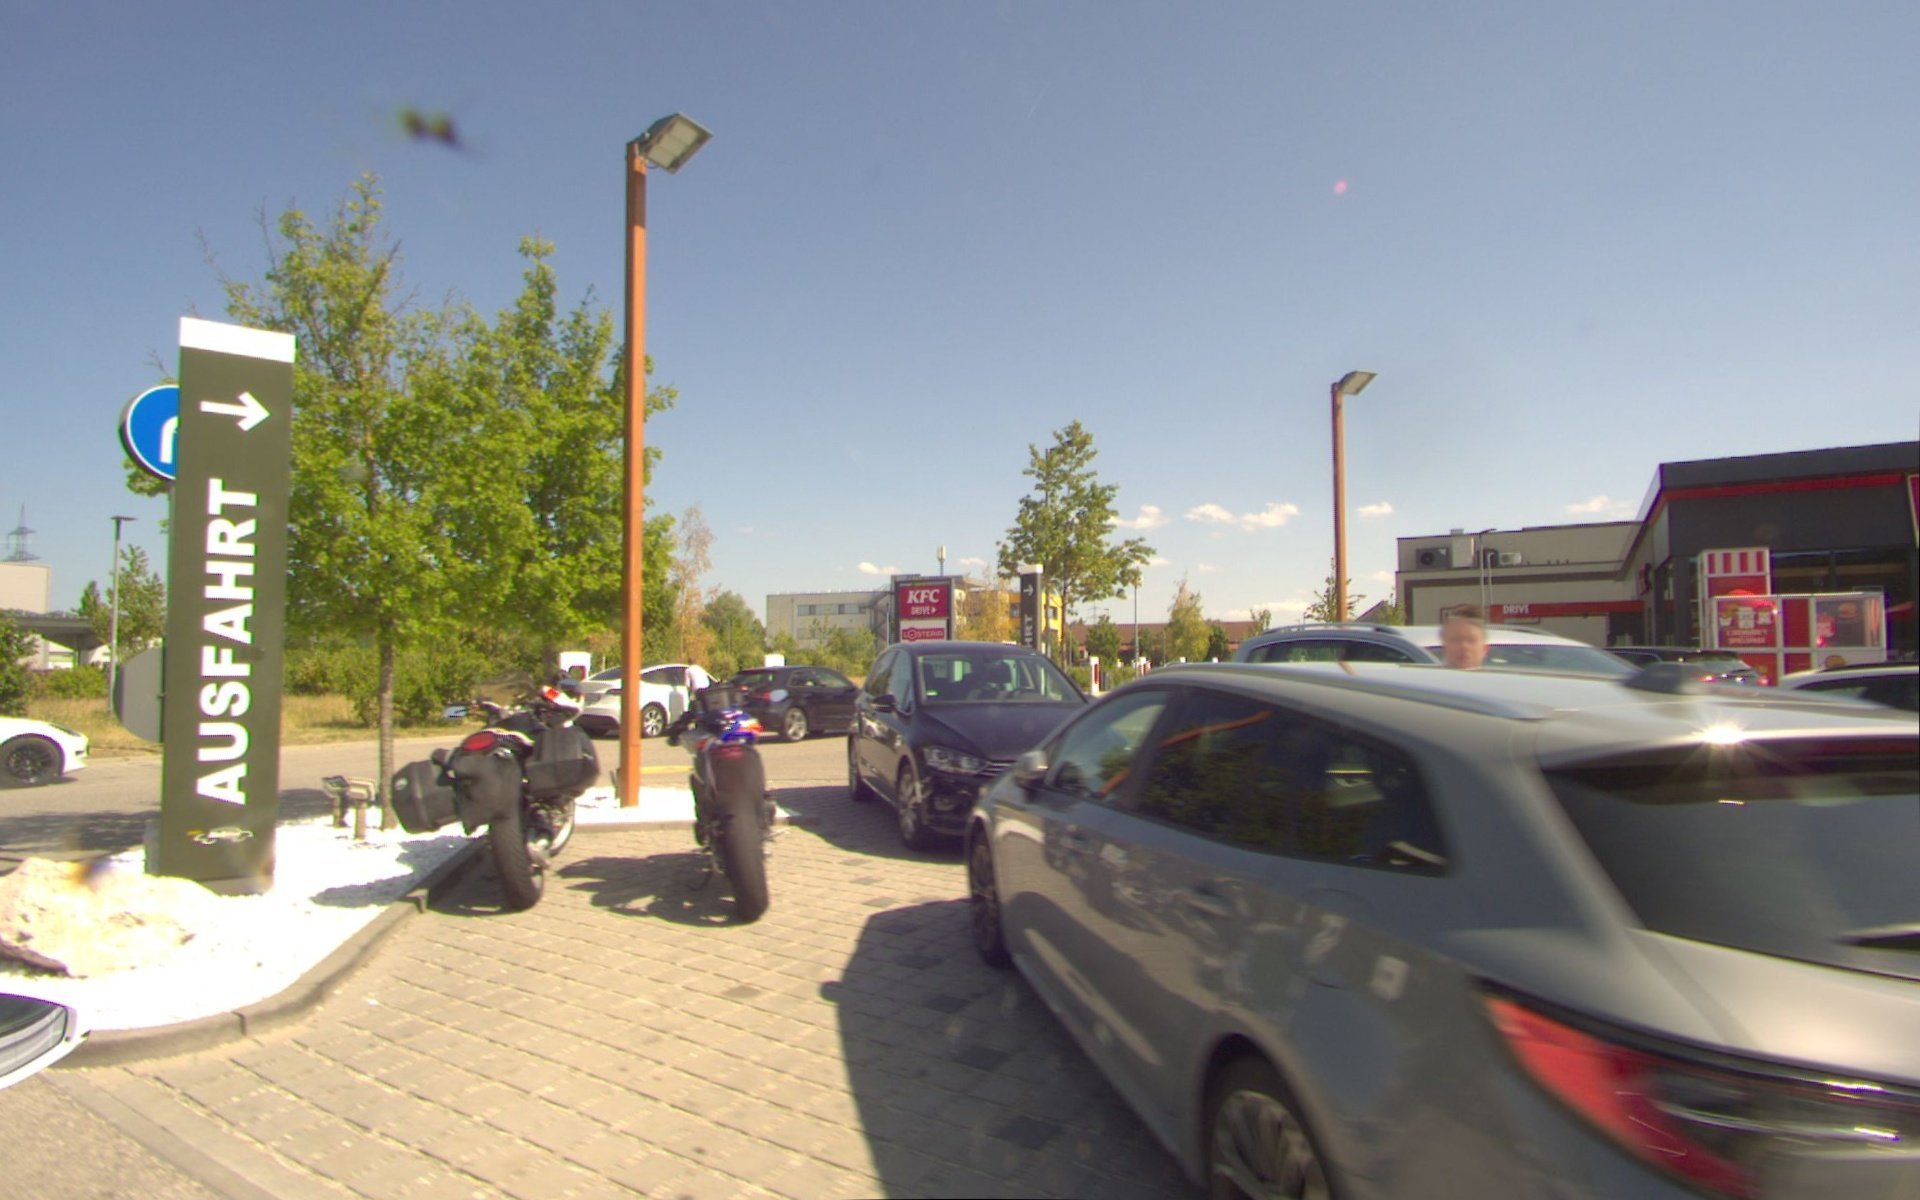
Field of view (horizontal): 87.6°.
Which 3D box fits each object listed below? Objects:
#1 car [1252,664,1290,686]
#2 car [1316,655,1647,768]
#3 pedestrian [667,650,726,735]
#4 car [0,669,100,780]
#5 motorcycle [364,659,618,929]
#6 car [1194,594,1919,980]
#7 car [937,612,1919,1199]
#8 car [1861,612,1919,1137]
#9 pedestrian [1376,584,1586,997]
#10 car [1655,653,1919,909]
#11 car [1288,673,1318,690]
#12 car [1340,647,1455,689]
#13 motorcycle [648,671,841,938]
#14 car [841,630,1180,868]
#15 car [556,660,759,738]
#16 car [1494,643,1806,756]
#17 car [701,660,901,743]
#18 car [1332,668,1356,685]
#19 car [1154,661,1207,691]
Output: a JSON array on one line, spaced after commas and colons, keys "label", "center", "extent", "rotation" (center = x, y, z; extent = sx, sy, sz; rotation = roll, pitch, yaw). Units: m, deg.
[{"label": "car", "center": [23.131, 5.530, 74.476], "extent": [1.922, 1.587, 3.986], "rotation": [-2, -4, 29]}, {"label": "car", "center": [7.416, 1.516, 14.330], "extent": [4.113, 1.443, 1.842], "rotation": [1, -4, -18]}, {"label": "pedestrian", "center": [-5.857, 2.031, 22.243], "extent": [1.020, 1.822, 0.734], "rotation": [0, -3, 29]}, {"label": "car", "center": [-13.603, 1.553, 12.165], "extent": [1.796, 1.394, 4.431], "rotation": [-2, -4, 30]}, {"label": "motorcycle", "center": [-2.708, 1.027, 6.119], "extent": [1.052, 1.266, 2.249], "rotation": [2, -2, -17]}, {"label": "car", "center": [3.226, 0.927, 6.505], "extent": [1.716, 1.660, 4.066], "rotation": [1, -3, -13]}, {"label": "car", "center": [1.216, 0.874, 3.515], "extent": [1.801, 1.465, 4.662], "rotation": [0, -3, -12]}, {"label": "car", "center": [4.271, 0.734, 1.501], "extent": [1.779, 1.612, 3.999], "rotation": [1, -4, -14]}, {"label": "pedestrian", "center": [2.334, 0.815, 4.545], "extent": [0.599, 1.734, 0.564], "rotation": [0, -3, -6]}, {"label": "car", "center": [6.309, 0.997, 5.379], "extent": [1.761, 1.425, 4.080], "rotation": [1, -3, -14]}, {"label": "car", "center": [29.063, 6.887, 84.747], "extent": [1.722, 1.404, 3.986], "rotation": [-2, -4, 29]}, {"label": "car", "center": [18.396, 2.851, 42.146], "extent": [4.318, 1.706, 1.636], "rotation": [-2, -4, 29]}, {"label": "motorcycle", "center": [-1.377, 1.076, 6.019], "extent": [0.807, 1.246, 2.137], "rotation": [2, -3, -21]}, {"label": "car", "center": [0.142, 1.100, 8.838], "extent": [1.861, 1.556, 4.188], "rotation": [1, -3, -14]}, {"label": "car", "center": [-6.872, 2.214, 23.237], "extent": [1.843, 1.619, 4.471], "rotation": [-2, -4, 30]}, {"label": "car", "center": [11.003, 1.555, 16.385], "extent": [1.725, 1.595, 4.086], "rotation": [1, -4, -13]}, {"label": "car", "center": [-3.028, 1.951, 19.909], "extent": [1.674, 1.458, 4.198], "rotation": [-3, -5, 30]}, {"label": "car", "center": [38.197, 7.581, 99.521], "extent": [1.722, 1.587, 3.986], "rotation": [-2, -4, 29]}, {"label": "car", "center": [12.426, 4.243, 56.285], "extent": [1.921, 1.587, 3.988], "rotation": [-2, -4, 27]}]
